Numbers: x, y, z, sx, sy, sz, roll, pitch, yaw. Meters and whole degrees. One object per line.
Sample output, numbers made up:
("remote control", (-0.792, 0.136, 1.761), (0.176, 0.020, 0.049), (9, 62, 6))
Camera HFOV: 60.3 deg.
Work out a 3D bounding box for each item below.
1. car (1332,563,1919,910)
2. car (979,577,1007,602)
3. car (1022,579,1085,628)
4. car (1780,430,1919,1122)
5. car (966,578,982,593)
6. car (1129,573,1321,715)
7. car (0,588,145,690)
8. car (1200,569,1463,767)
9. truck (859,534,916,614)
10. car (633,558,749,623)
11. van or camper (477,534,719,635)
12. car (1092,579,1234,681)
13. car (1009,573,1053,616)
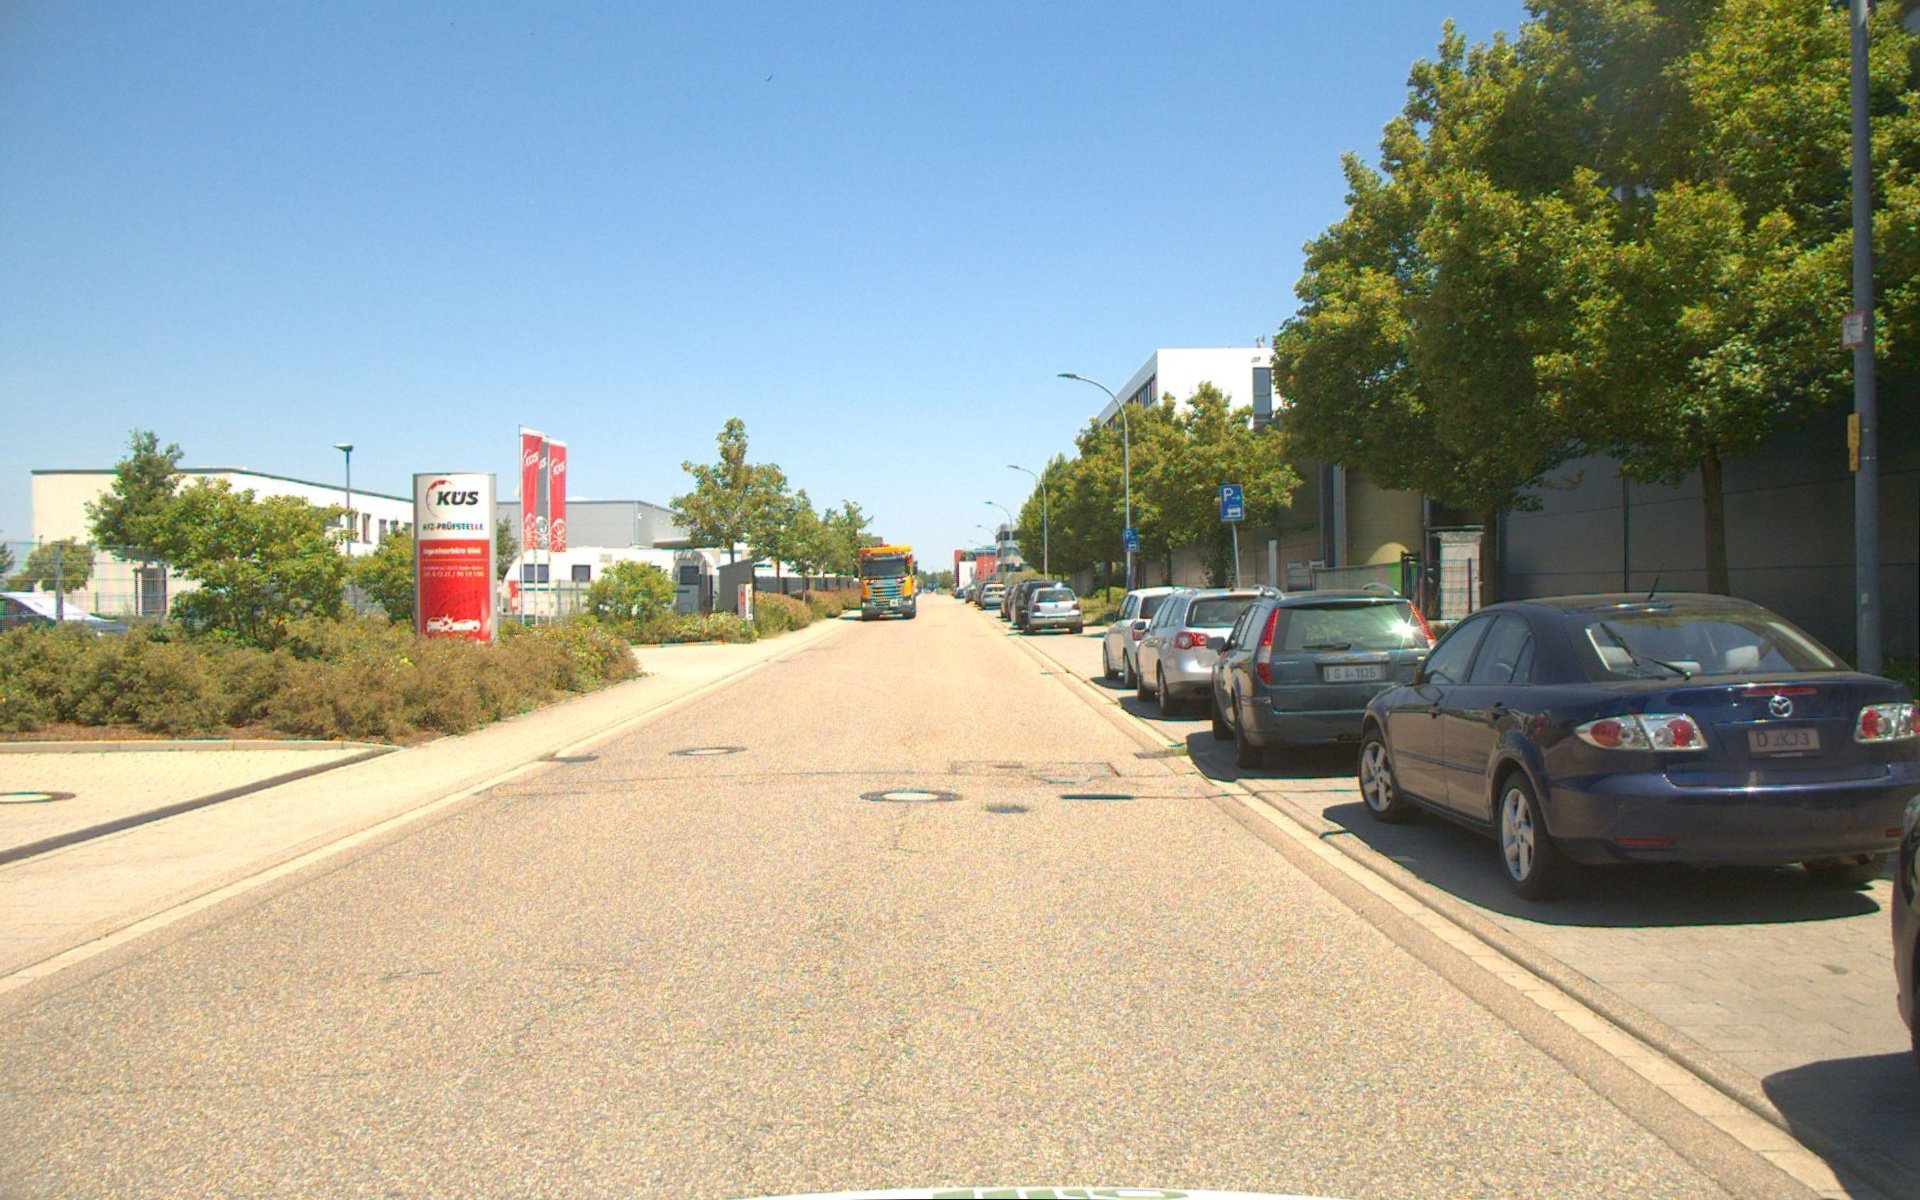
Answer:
("car", (3.596, 0.588, 9.462), (1.813, 1.456, 4.712), (-1, 0, -1))
("car", (1.966, -0.645, 99.205), (1.553, 1.434, 3.499), (-1, 0, -1))
("car", (2.914, 0.102, 52.250), (1.683, 1.475, 3.645), (-1, 0, -1))
("car", (3.569, 0.450, 2.963), (1.953, 1.857, 4.353), (-1, 0, -1))
("car", (1.348, -1.456, 163.579), (1.465, 1.434, 3.499), (-1, 0, -1))
("car", (3.266, 0.492, 21.214), (1.712, 1.589, 4.506), (-1, 0, 0))
("car", (-15.250, 0.623, 26.667), (3.433, 1.579, 1.556), (-1, 0, -6))
("car", (3.268, 0.542, 15.392), (1.673, 1.531, 4.708), (-1, 0, 4))
("truck", (-3.400, -1.240, 79.343), (2.399, 3.574, 8.271), (-2, 1, -1))
("car", (-11.382, -0.413, 70.216), (4.623, 2.631, 1.998), (-1, 0, -5))
("van or camper", (-11.693, -0.497, 53.898), (7.235, 3.090, 2.789), (-1, 0, -2))
("car", (3.222, 0.430, 26.844), (1.603, 1.494, 3.743), (-2, 1, -3))
("car", (2.976, -0.242, 70.058), (1.686, 1.724, 3.984), (-1, 0, 0))
